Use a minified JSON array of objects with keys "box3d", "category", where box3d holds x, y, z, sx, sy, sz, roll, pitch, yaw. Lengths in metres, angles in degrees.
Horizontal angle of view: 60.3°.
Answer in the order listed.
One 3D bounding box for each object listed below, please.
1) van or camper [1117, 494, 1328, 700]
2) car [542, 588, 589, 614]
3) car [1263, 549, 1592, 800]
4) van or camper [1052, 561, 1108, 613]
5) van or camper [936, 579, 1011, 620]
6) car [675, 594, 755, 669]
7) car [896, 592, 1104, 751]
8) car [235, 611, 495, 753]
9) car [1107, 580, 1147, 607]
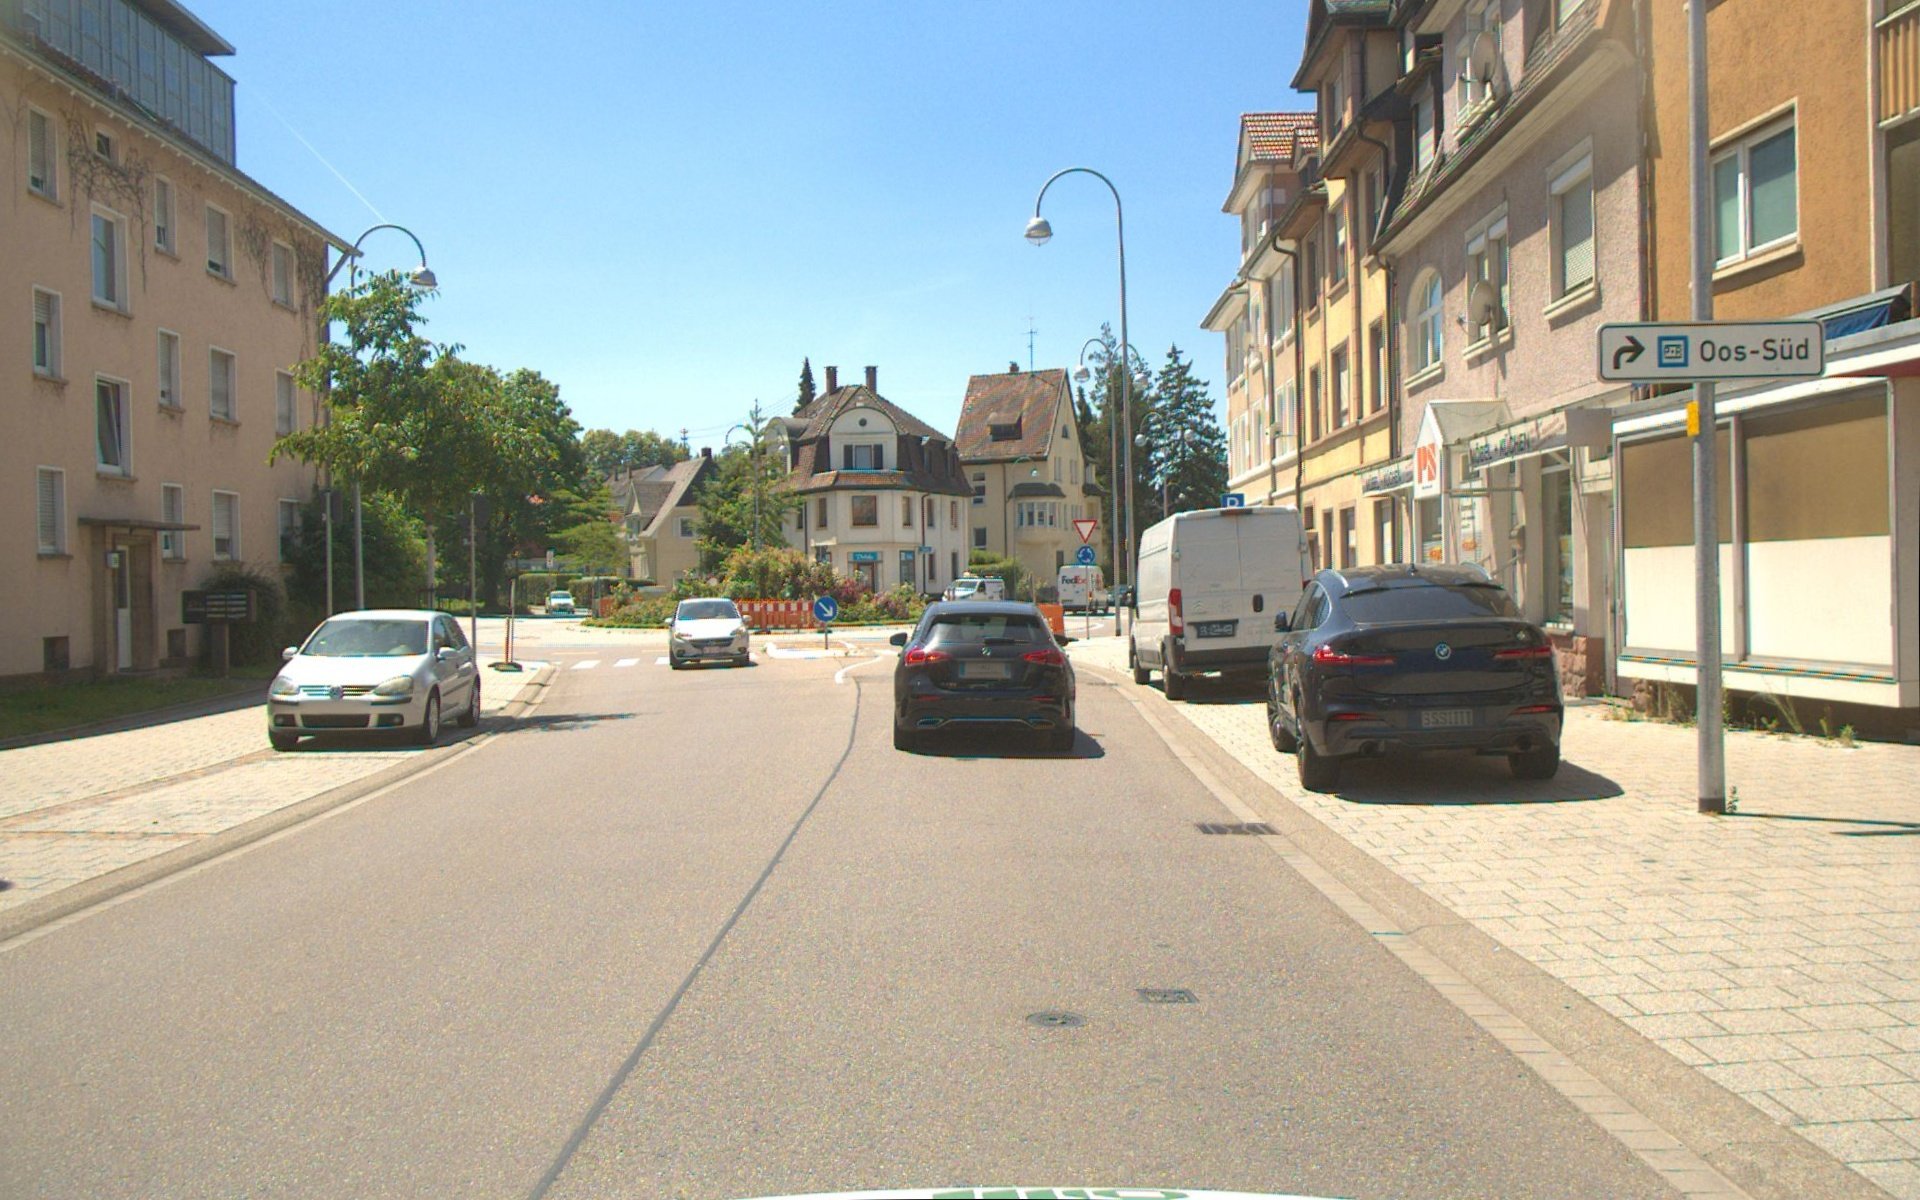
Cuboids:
[{"box3d":[3.750,-0.055,24.762,2.121,2.634,5.765,-2,0,0],"category":"van or camper"},{"box3d":[-26.341,0.085,110.517,1.747,1.625,3.923,-1,-2,8],"category":"car"},{"box3d":[3.589,0.510,13.496,1.855,1.635,4.368,-3,0,7],"category":"car"},{"box3d":[6.435,-0.693,88.449,2.159,2.656,4.003,-1,0,16],"category":"van or camper"},{"box3d":[0.781,0.000,90.542,1.955,2.210,5.407,0,0,26],"category":"van or camper"},{"box3d":[-5.437,0.650,36.505,1.629,1.522,3.751,-1,1,-10],"category":"car"},{"box3d":[0.328,0.672,17.217,1.914,1.452,3.999,0,0,-1],"category":"car"},{"box3d":[-6.796,0.871,19.371,1.955,1.445,4.082,0,0,-6],"category":"car"},{"box3d":[11.319,-0.452,111.768,1.880,1.803,4.002,1,0,18],"category":"car"}]
